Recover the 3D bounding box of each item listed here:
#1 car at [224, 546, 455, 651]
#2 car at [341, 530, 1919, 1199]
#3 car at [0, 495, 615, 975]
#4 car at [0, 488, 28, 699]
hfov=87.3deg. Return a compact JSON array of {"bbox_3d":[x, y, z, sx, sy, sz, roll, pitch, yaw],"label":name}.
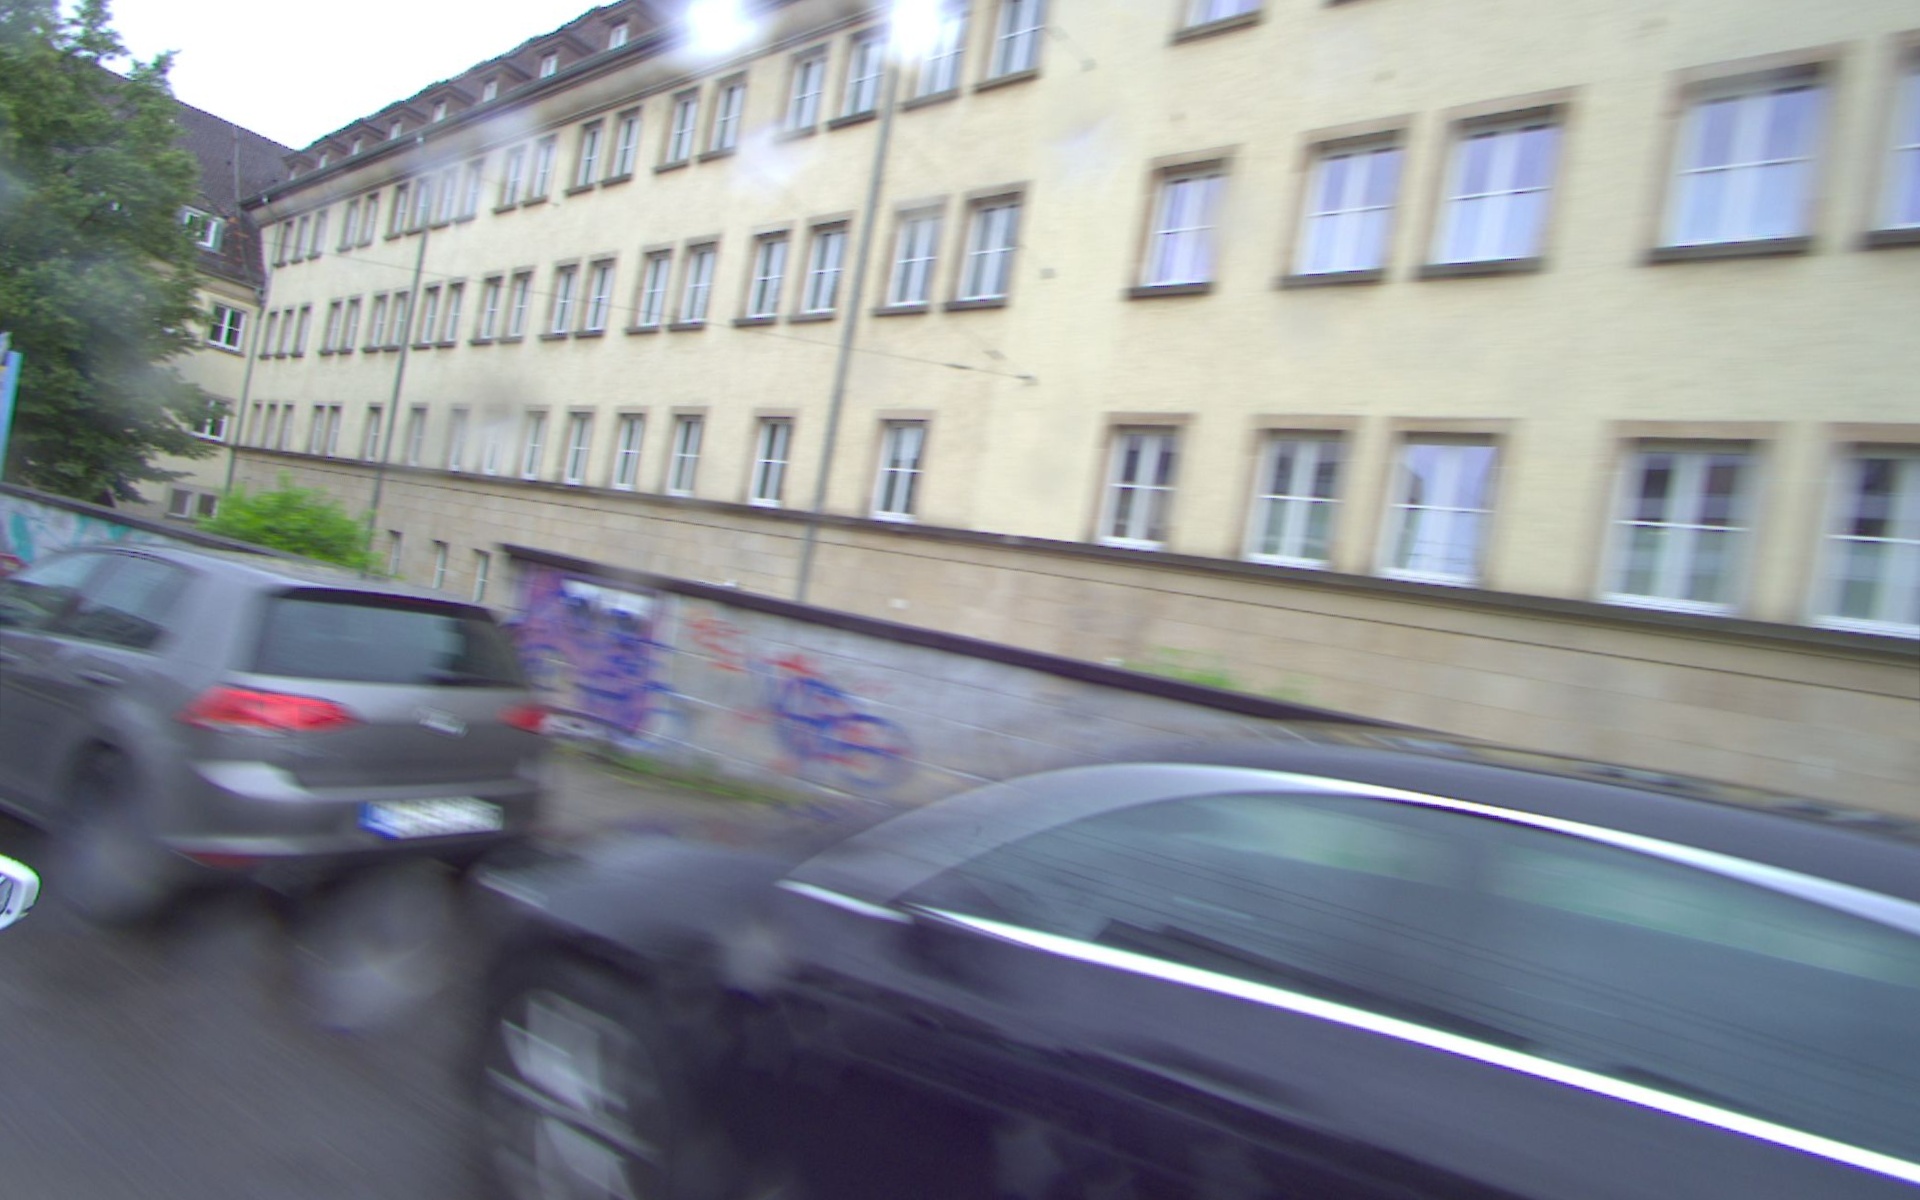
[{"bbox_3d":[-14.532,0.024,23.745,1.769,1.813,4.125,7,-3,40],"label":"car"},{"bbox_3d":[0.720,0.855,2.179,4.384,1.494,1.667,7,0,33],"label":"car"},{"bbox_3d":[-3.879,0.362,5.098,4.039,1.494,1.668,7,0,30],"label":"car"},{"bbox_3d":[-9.101,-0.317,7.818,4.041,1.543,1.667,7,0,33],"label":"car"}]
